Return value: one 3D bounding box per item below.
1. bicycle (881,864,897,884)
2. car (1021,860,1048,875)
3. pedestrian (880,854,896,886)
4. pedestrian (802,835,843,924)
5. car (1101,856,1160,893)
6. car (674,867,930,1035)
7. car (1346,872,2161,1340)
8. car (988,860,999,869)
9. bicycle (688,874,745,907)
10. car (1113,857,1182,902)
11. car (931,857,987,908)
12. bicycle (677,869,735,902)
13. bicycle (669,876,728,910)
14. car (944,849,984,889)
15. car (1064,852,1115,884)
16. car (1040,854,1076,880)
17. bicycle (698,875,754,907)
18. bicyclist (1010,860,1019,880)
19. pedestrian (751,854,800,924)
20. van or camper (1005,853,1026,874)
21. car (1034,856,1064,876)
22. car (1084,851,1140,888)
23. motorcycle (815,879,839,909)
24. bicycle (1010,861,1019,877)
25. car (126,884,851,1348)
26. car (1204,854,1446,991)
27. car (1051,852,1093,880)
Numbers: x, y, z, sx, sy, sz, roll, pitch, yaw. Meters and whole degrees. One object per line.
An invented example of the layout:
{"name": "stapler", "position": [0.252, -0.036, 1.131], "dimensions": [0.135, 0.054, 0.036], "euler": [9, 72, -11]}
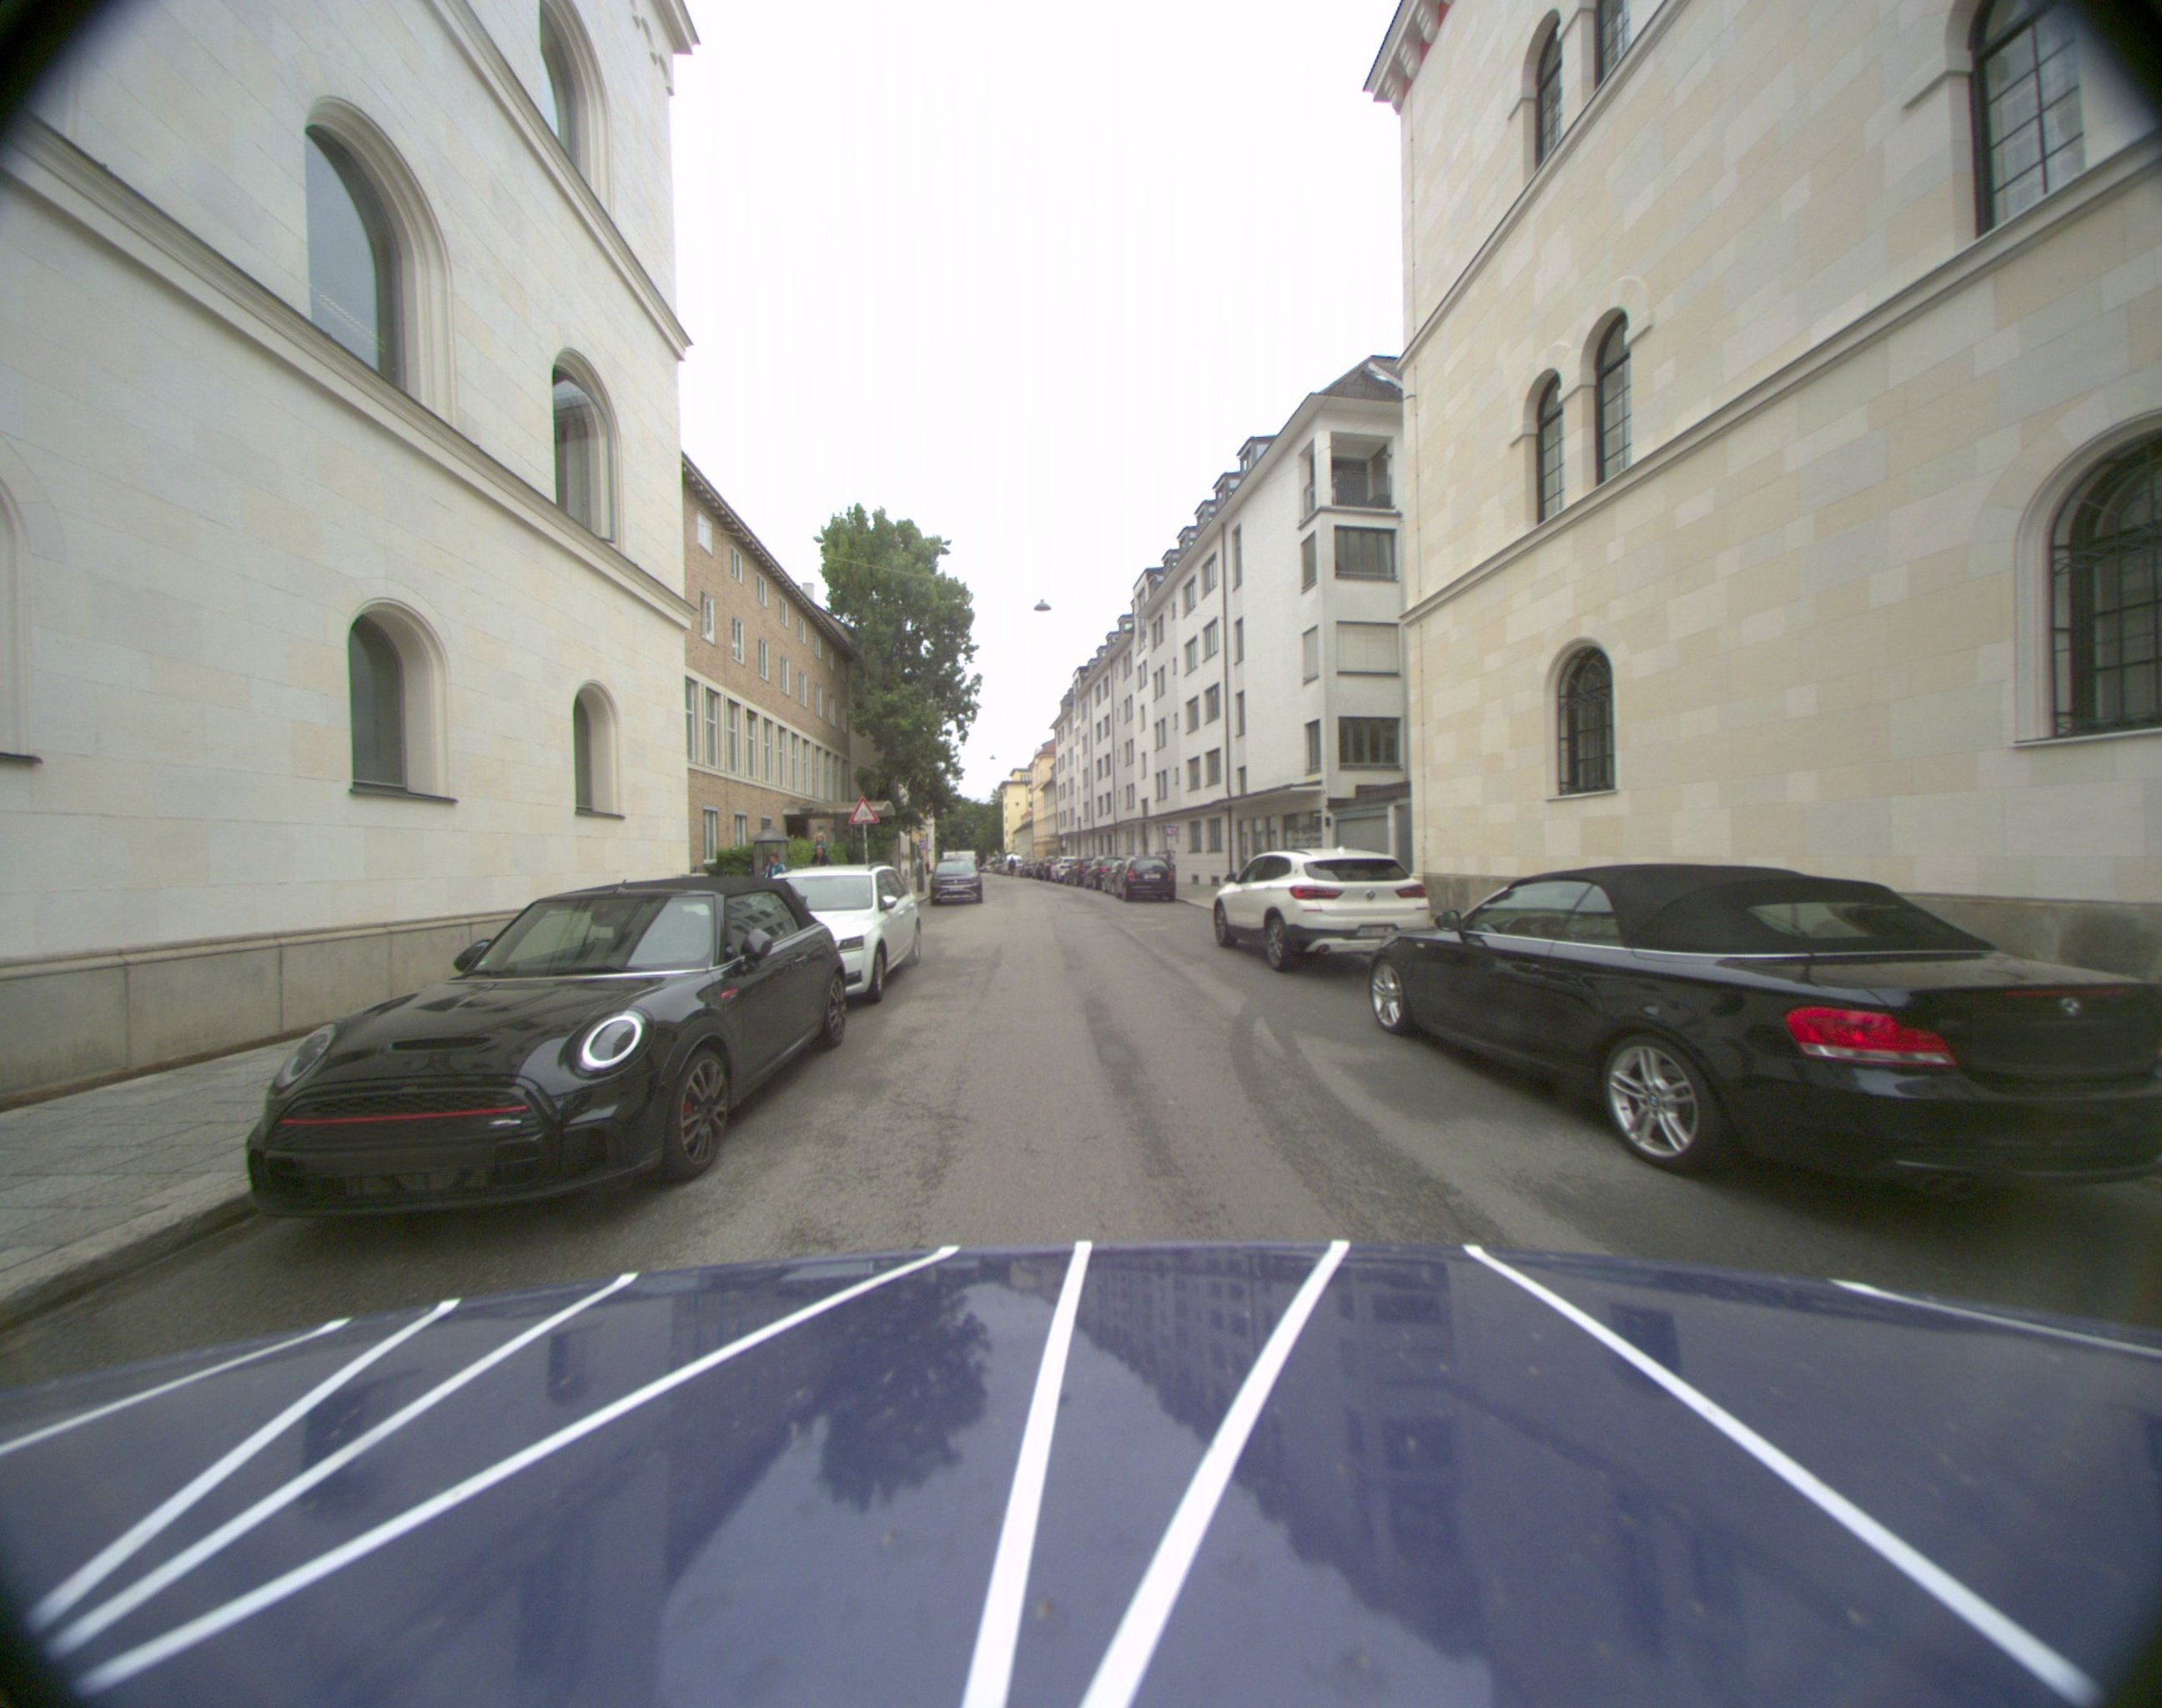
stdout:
{"name": "bicycle", "position": [-10.897, 1.137, 43.259], "dimensions": [0.672, 1.067, 2.222], "euler": [-1, 0, -9]}
{"name": "car", "position": [-4.235, 1.230, 68.304], "dimensions": [1.645, 1.346, 4.053], "euler": [0, -1, -16]}
{"name": "pedestrian", "position": [-10.267, 0.849, 40.437], "dimensions": [0.589, 1.623, 0.876], "euler": [-2, 0, -4]}
{"name": "pedestrian", "position": [-6.521, 0.632, 19.184], "dimensions": [0.795, 2.185, 0.813], "euler": [0, 1, -4]}
{"name": "car", "position": [1.964, 0.814, 31.043], "dimensions": [1.756, 1.445, 4.013], "euler": [0, -1, -6]}
{"name": "car", "position": [-3.068, 0.954, 9.371], "dimensions": [1.794, 1.468, 4.311], "euler": [-1, 0, -4]}
{"name": "car", "position": [3.361, 0.878, 4.651], "dimensions": [1.703, 1.385, 4.209], "euler": [0, 1, -5]}
{"name": "car", "position": [-16.430, 1.991, 142.705], "dimensions": [1.712, 1.490, 3.997], "euler": [-1, 0, -10]}
{"name": "bicycle", "position": [-11.864, 1.188, 24.768], "dimensions": [1.635, 1.036, 0.348], "euler": [0, 0, -7]}
{"name": "car", "position": [2.210, 0.842, 26.314], "dimensions": [1.755, 1.445, 4.014], "euler": [0, -1, -4]}
{"name": "car", "position": [-4.261, 0.938, 26.792], "dimensions": [1.753, 1.584, 3.953], "euler": [-2, 0, -8]}
{"name": "bicycle", "position": [-11.903, 0.989, 24.144], "dimensions": [1.634, 1.036, 0.348], "euler": [0, 0, -1]}
{"name": "bicycle", "position": [-11.895, 1.208, 23.654], "dimensions": [1.634, 1.036, 0.348], "euler": [0, 0, -1]}
{"name": "car", "position": [-6.036, 0.742, 39.614], "dimensions": [1.888, 1.913, 4.871], "euler": [-2, 0, -7]}
{"name": "car", "position": [0.410, 0.763, 42.207], "dimensions": [1.879, 1.648, 4.586], "euler": [0, -1, -12]}
{"name": "car", "position": [-1.615, 0.902, 52.808], "dimensions": [1.878, 1.678, 4.517], "euler": [0, -1, -10]}
{"name": "bicycle", "position": [-11.805, 1.221, 25.302], "dimensions": [1.635, 1.036, 0.348], "euler": [0, 0, -9]}
{"name": "bicyclist", "position": [-5.360, 1.287, 61.296], "dimensions": [0.659, 1.542, 0.887], "euler": [-1, 1, -7]}
{"name": "pedestrian", "position": [-7.609, 0.860, 18.933], "dimensions": [0.860, 1.683, 0.751], "euler": [-2, 0, -2]}
{"name": "van or camper", "position": [-7.520, 1.112, 87.301], "dimensions": [2.000, 2.297, 5.474], "euler": [-1, 0, -9]}
{"name": "car", "position": [-2.473, 0.913, 58.305], "dimensions": [1.779, 1.530, 4.156], "euler": [0, -1, -10]}
{"name": "car", "position": [1.403, 0.737, 36.389], "dimensions": [1.878, 1.648, 4.077], "euler": [0, -1, -9]}
{"name": "motorcycle", "position": [-9.839, 1.528, 29.504], "dimensions": [0.490, 1.047, 1.922], "euler": [-2, 0, -8]}
{"name": "bicycle", "position": [-5.362, 1.195, 61.463], "dimensions": [0.650, 1.190, 1.949], "euler": [-1, 0, -7]}
{"name": "car", "position": [-2.695, 1.015, 4.644], "dimensions": [1.544, 1.417, 3.770], "euler": [-3, 1, -3]}
{"name": "car", "position": [3.148, 0.779, 10.820], "dimensions": [1.783, 1.526, 4.209], "euler": [0, 1, -5]}
{"name": "car", "position": [-0.625, 0.764, 47.776], "dimensions": [1.878, 1.648, 4.587], "euler": [0, -1, -10]}
